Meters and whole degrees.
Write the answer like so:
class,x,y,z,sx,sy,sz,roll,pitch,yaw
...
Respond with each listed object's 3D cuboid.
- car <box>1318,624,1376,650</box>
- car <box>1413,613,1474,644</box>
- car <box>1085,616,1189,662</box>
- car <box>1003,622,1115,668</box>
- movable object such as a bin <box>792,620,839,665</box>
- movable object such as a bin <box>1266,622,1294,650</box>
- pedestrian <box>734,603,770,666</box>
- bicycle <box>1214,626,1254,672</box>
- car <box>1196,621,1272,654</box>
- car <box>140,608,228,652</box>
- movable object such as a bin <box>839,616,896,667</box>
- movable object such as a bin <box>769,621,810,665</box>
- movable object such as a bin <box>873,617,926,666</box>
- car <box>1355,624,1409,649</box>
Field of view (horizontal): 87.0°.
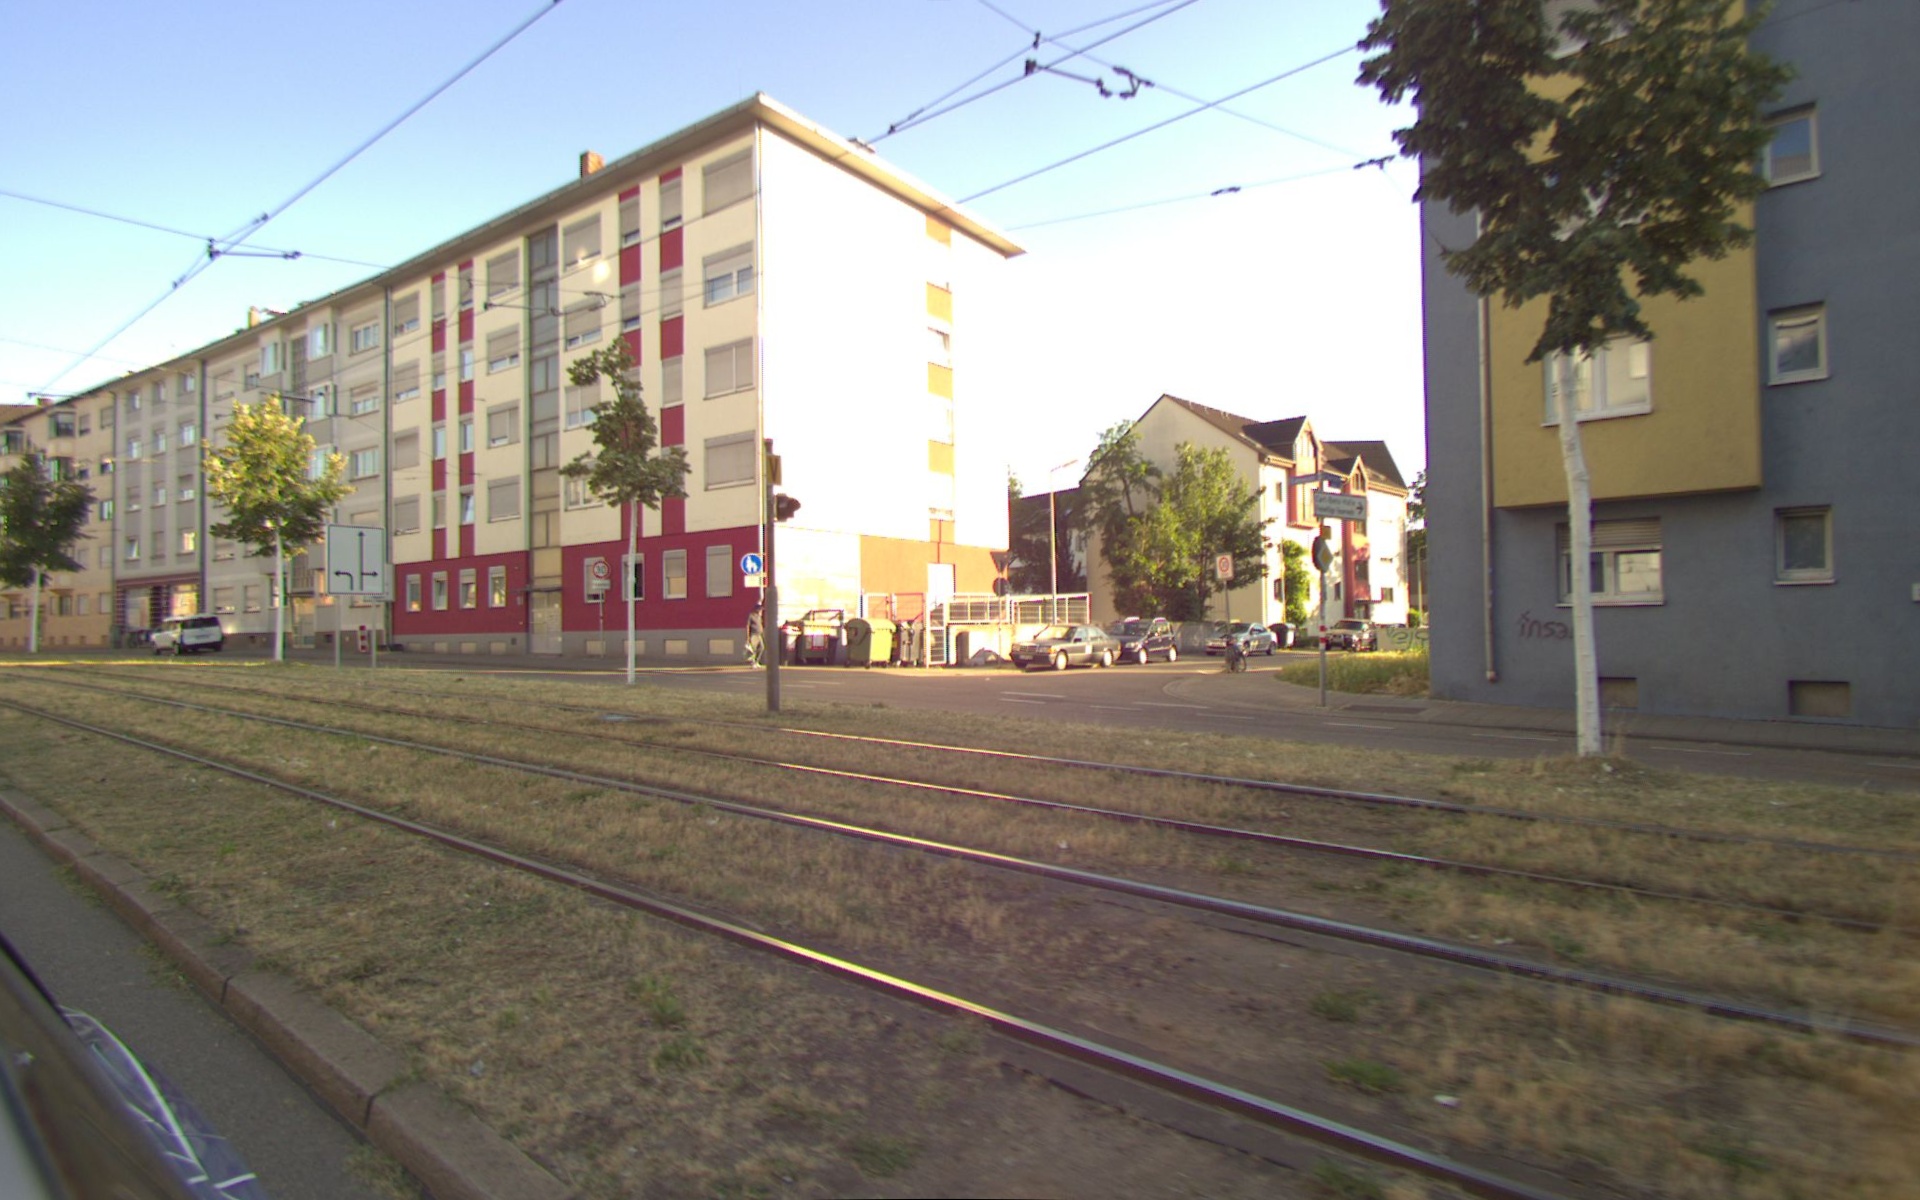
class,x,y,z,sx,sy,sz,roll,pitch,yaw
car,20.912,1.982,54.590,1.701,1.370,3.791,-1,-2,41
car,32.040,1.867,66.976,1.960,1.993,5.626,-2,-2,44
car,6.271,1.336,35.603,1.898,1.519,3.946,-1,-2,40
car,3.123,1.359,31.434,1.699,1.304,3.825,-2,-2,38
movable object such as a bin,-4.278,1.240,29.926,0.805,1.296,1.147,-1,-2,37
movable object such as a bin,16.945,1.916,53.571,0.946,1.466,1.368,-1,-2,41
pedestrian,-5.748,0.946,27.986,0.790,1.702,0.608,-2,-2,36
bicycle,6.935,1.223,25.588,0.600,1.084,1.945,-5,-3,24
car,11.516,1.564,42.439,1.701,1.314,3.514,-1,-2,41
car,-36.912,1.433,48.112,4.409,1.842,1.852,-2,4,34
movable object such as a bin,-2.677,1.179,29.294,1.136,1.426,1.205,-1,-2,37
movable object such as a bin,-4.897,1.223,29.048,0.805,1.235,0.858,-1,-2,37
movable object such as a bin,-1.818,1.230,30.441,1.106,1.426,1.205,-1,-2,37
car,24.283,2.059,58.230,1.701,1.370,3.790,-2,-2,42
